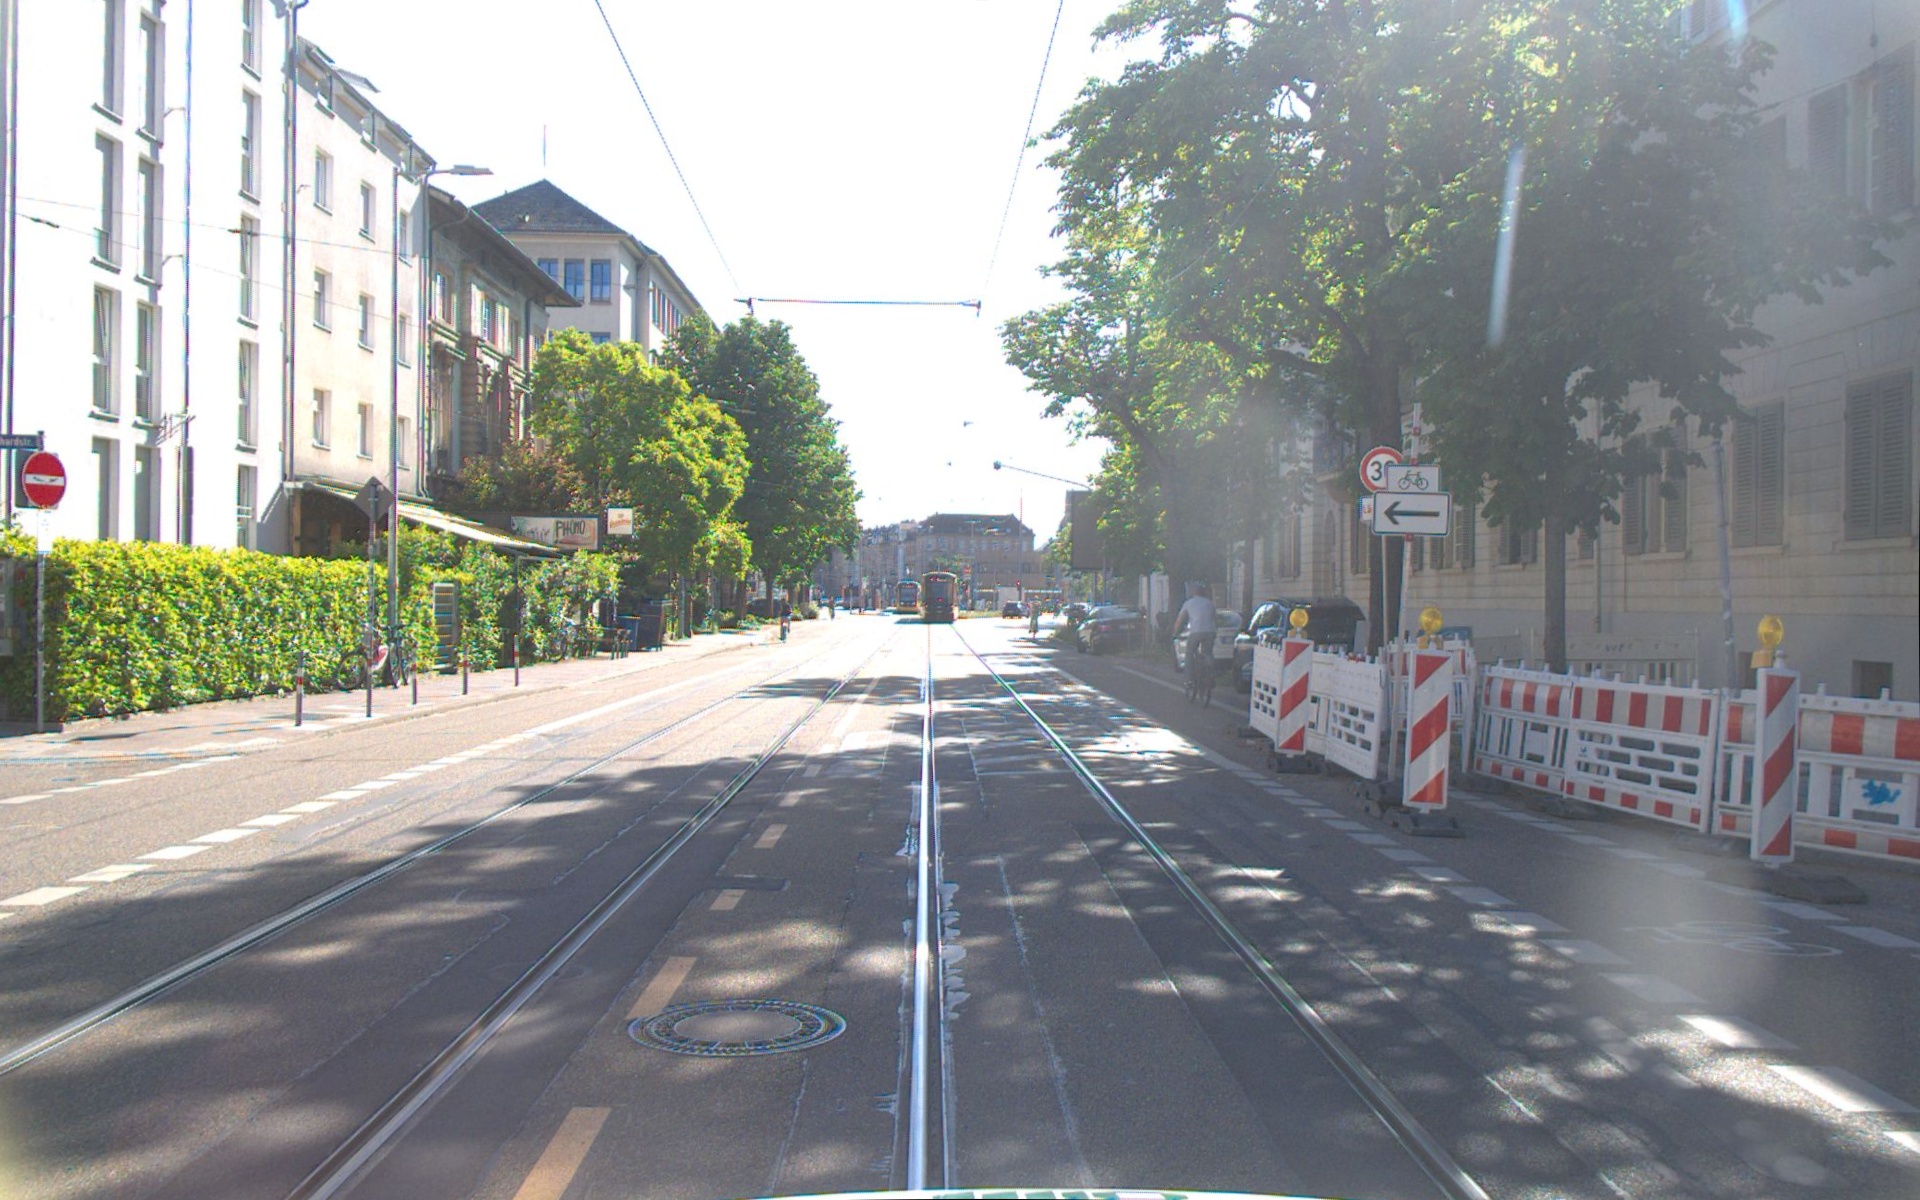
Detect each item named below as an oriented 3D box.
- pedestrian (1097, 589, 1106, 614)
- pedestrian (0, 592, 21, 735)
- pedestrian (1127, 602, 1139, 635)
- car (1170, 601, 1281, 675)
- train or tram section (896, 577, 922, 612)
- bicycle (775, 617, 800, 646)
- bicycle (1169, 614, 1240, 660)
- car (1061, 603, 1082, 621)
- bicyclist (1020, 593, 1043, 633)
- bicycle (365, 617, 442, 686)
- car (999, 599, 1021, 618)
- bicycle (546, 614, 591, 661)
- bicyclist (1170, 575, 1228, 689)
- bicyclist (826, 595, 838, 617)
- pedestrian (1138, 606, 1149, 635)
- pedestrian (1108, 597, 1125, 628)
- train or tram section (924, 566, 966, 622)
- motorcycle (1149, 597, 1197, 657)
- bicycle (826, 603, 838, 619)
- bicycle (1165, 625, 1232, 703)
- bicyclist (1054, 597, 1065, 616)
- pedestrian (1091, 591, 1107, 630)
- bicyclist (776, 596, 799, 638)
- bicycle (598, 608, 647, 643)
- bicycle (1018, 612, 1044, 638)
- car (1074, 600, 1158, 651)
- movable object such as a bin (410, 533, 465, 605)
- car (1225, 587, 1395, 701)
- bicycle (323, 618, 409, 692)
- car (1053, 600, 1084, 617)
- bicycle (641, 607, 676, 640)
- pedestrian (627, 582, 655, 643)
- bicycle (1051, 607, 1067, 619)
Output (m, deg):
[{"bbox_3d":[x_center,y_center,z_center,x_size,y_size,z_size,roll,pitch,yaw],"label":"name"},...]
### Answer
[{"bbox_3d":[11.339,0.128,132.574,0.624,1.937,1.134,-2,0,0],"label":"pedestrian"},{"bbox_3d":[-10.596,0.652,17.422,0.934,1.503,0.757,2,0,18],"label":"pedestrian"},{"bbox_3d":[8.766,0.935,83.813,0.507,1.628,0.765,0,0,2],"label":"pedestrian"},{"bbox_3d":[5.554,0.755,35.083,1.688,1.406,4.356,-1,0,1],"label":"car"},{"bbox_3d":[-5.650,-0.654,182.800,2.687,3.715,13.781,1,0,-2],"label":"train or tram section"},{"bbox_3d":[-6.820,1.229,65.482,0.730,1.101,1.899,-2,0,0],"label":"bicycle"},{"bbox_3d":[5.894,0.897,39.921,1.586,1.061,0.685,-1,0,0],"label":"bicycle"},{"bbox_3d":[10.378,1.095,153.443,1.752,1.537,3.713,2,0,1],"label":"car"},{"bbox_3d":[3.193,0.573,73.570,0.690,1.704,1.102,2,0,18],"label":"bicyclist"},{"bbox_3d":[-9.489,0.862,28.267,0.648,1.108,1.840,3,-1,0],"label":"bicycle"},{"bbox_3d":[4.596,0.745,152.323,1.751,1.632,3.715,2,0,4],"label":"car"},{"bbox_3d":[-9.581,0.900,40.500,0.625,1.077,1.743,3,0,0],"label":"bicycle"},{"bbox_3d":[3.699,0.489,25.670,0.723,1.715,0.972,2,0,1],"label":"bicyclist"},{"bbox_3d":[-9.728,0.436,125.587,0.672,1.673,1.238,-1,0,3],"label":"bicyclist"},{"bbox_3d":[9.311,1.032,83.823,0.507,1.429,0.765,0,0,2],"label":"pedestrian"},{"bbox_3d":[8.493,0.680,89.768,0.839,1.669,0.993,0,-2,1],"label":"pedestrian"},{"bbox_3d":[-1.169,-0.466,118.712,2.687,3.715,13.781,1,0,-2],"label":"train or tram section"},{"bbox_3d":[5.584,0.696,43.478,0.895,1.514,2.679,-1,0,0],"label":"motorcycle"},{"bbox_3d":[-9.717,0.838,125.604,0.672,1.144,1.932,-1,0,3],"label":"bicycle"},{"bbox_3d":[3.681,0.971,25.680,0.723,1.113,2.111,2,0,1],"label":"bicycle"},{"bbox_3d":[9.326,0.621,154.947,0.691,1.730,0.986,3,1,23],"label":"bicyclist"},{"bbox_3d":[6.928,0.513,82.276,0.670,1.882,0.955,-1,0,-2],"label":"pedestrian"},{"bbox_3d":[-6.842,0.654,65.565,0.730,1.627,1.118,-2,0,0],"label":"bicyclist"},{"bbox_3d":[-10.462,0.778,51.332,0.623,1.064,2.023,1,0,15],"label":"bicycle"},{"bbox_3d":[3.175,1.104,73.573,0.690,1.124,1.718,2,0,18],"label":"bicycle"},{"bbox_3d":[4.816,0.751,51.575,1.786,1.484,4.814,-1,0,-4],"label":"car"},{"bbox_3d":[-10.991,-0.641,34.835,0.790,1.482,1.258,0,0,-2],"label":"movable object such as a bin"},{"bbox_3d":[5.652,0.660,27.278,1.773,1.654,4.583,-2,0,0],"label":"car"},{"bbox_3d":[-9.443,0.855,26.348,0.648,1.108,1.840,3,-1,0],"label":"bicycle"},{"bbox_3d":[11.500,0.882,174.893,1.672,1.672,3.701,2,0,34],"label":"car"},{"bbox_3d":[-10.102,0.774,55.525,0.577,1.064,1.906,2,0,7],"label":"bicycle"},{"bbox_3d":[-9.853,0.393,51.028,0.563,1.863,0.689,1,0,18],"label":"pedestrian"},{"bbox_3d":[9.307,1.226,154.972,0.691,1.073,2.313,3,1,23],"label":"bicycle"}]
